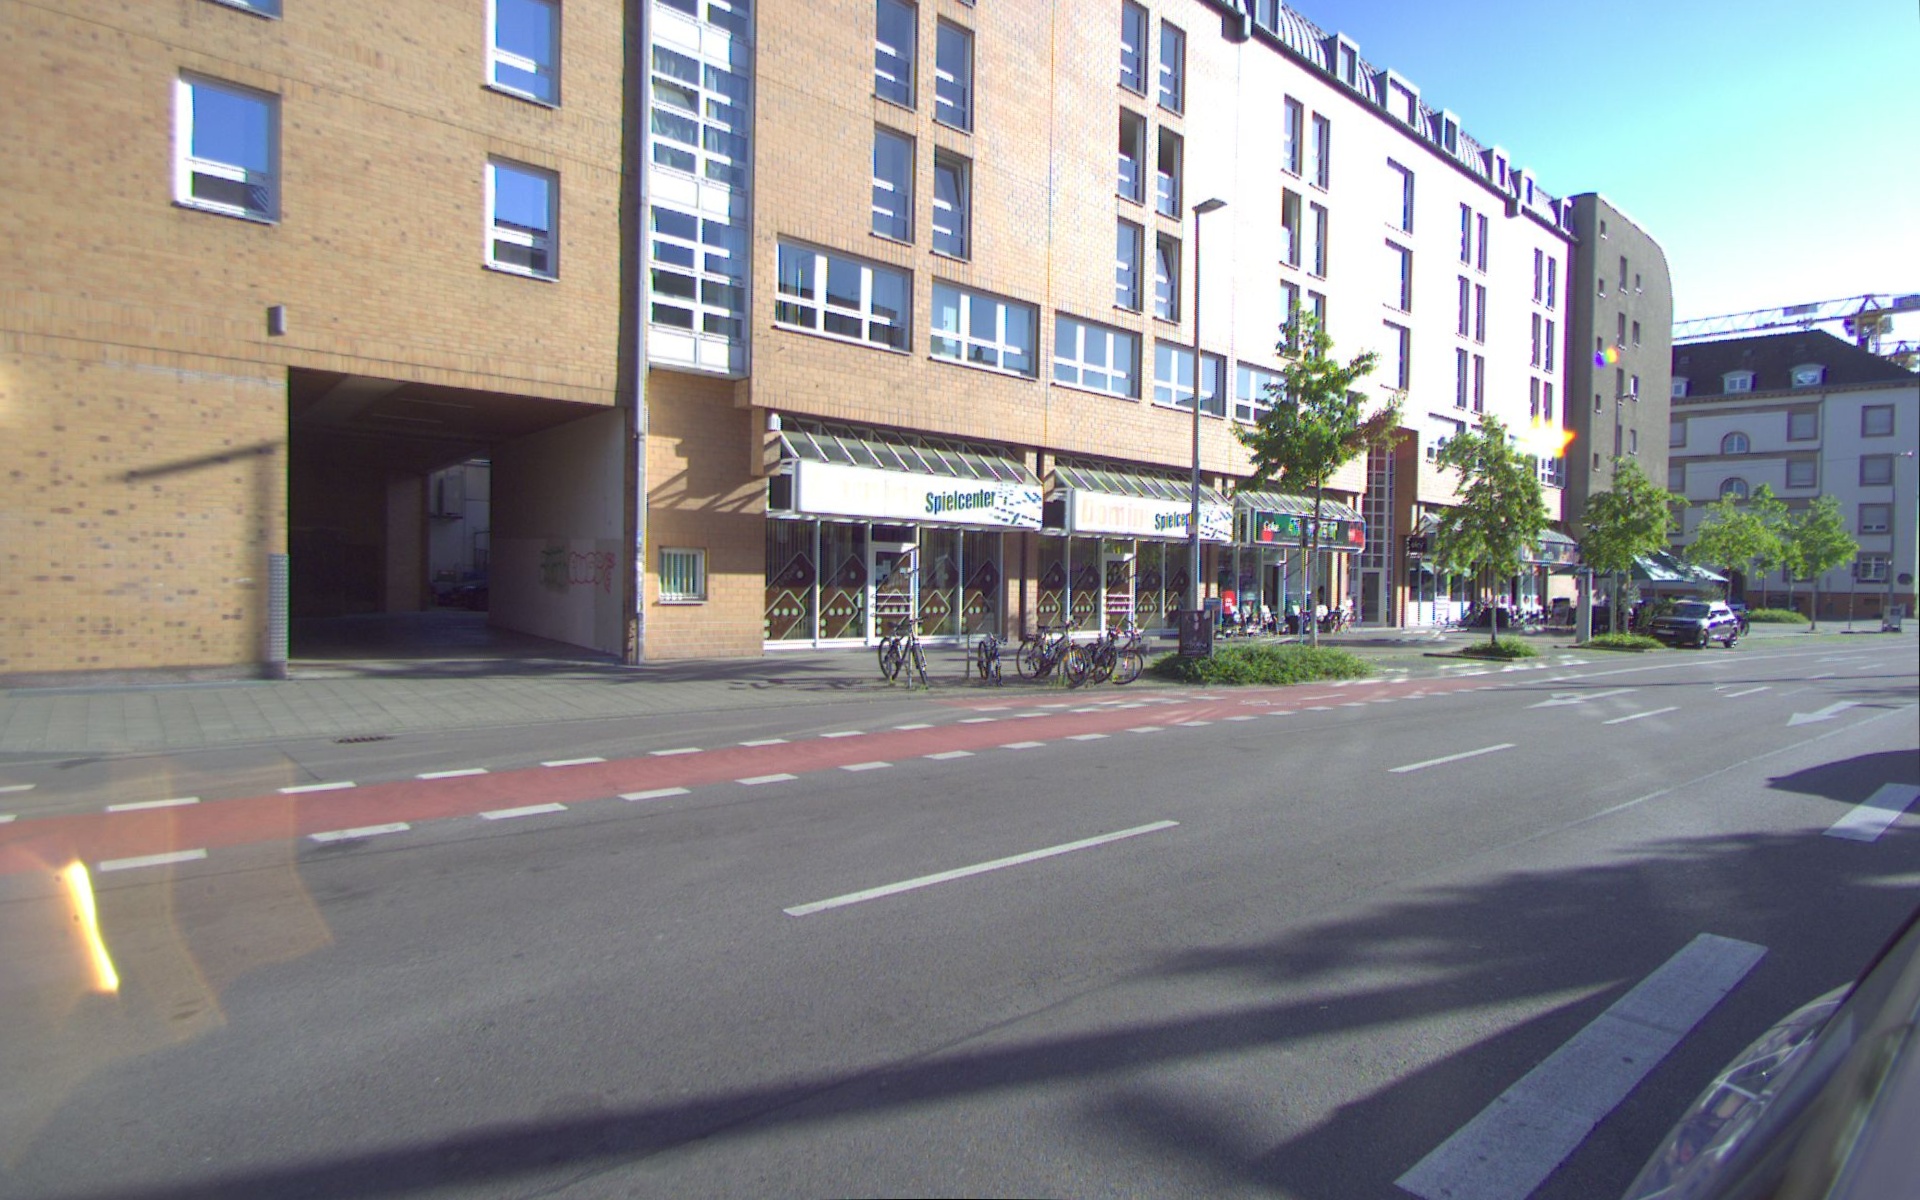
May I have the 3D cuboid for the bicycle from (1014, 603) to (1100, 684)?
[{"bbox_3d":[1.624,0.699,17.203,0.553,1.177,1.843,0,3,-26],"label":"bicycle"}]

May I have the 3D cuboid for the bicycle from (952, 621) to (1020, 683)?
[{"bbox_3d":[0.410,0.841,17.006,0.359,0.842,1.779,0,3,-26],"label":"bicycle"}]

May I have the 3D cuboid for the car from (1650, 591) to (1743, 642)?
[{"bbox_3d":[25.817,0.543,35.440,3.929,1.660,1.778,0,1,-41],"label":"car"}]

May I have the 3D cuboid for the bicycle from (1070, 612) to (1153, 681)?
[{"bbox_3d":[2.611,0.782,17.676,0.440,0.997,1.843,0,3,-26],"label":"bicycle"}]

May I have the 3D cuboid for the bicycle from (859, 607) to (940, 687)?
[{"bbox_3d":[-0.990,0.718,16.246,0.423,1.089,1.776,-1,4,-35],"label":"bicycle"}]

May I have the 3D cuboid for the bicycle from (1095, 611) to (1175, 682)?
[{"bbox_3d":[3.059,0.786,17.866,0.343,1.069,1.843,0,3,-26],"label":"bicycle"}]
